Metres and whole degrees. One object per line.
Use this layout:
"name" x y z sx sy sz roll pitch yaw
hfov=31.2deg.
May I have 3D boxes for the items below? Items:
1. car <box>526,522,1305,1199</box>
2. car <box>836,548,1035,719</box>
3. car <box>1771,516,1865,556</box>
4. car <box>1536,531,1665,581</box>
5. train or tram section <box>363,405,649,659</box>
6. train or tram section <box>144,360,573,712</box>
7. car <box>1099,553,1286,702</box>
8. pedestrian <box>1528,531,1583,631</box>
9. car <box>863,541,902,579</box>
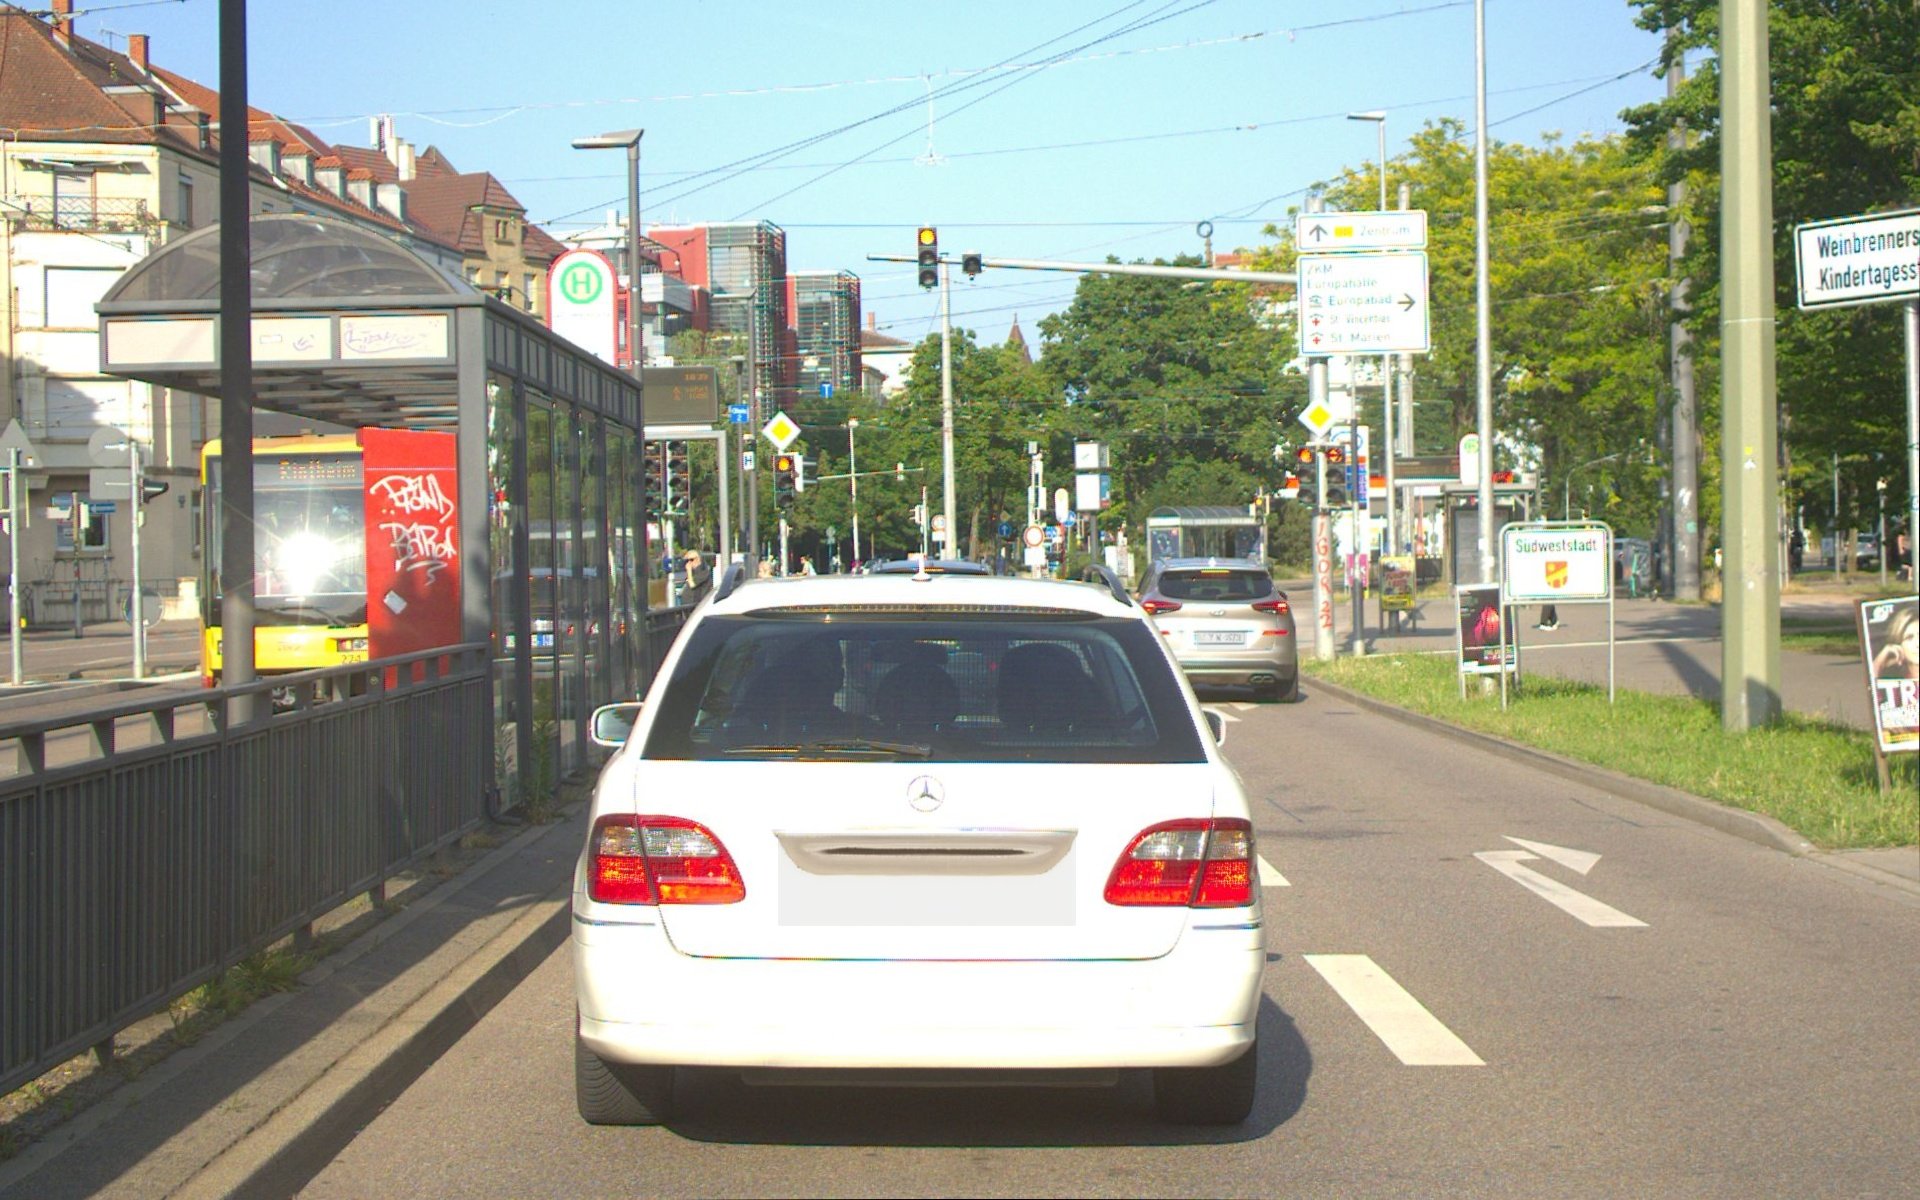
"car" -0.190 0.573 9.932 1.758 1.498 4.001 -2 2 -3
"car" -0.204 0.308 36.496 1.787 1.684 4.000 0 1 4
"car" 37.956 -2.835 152.093 3.989 1.645 1.999 -1 1 14
"car" 22.188 -1.525 119.064 3.992 1.645 1.997 -1 1 26
"train or tram section" -6.812 -1.073 53.702 2.849 3.467 13.201 0 1 -1
"train or tram section" -6.710 -0.788 40.684 2.849 3.467 13.201 0 1 0
"car" 2.675 0.276 39.504 2.033 1.600 4.000 0 1 4
"pedestrian" 9.891 -0.313 57.128 0.887 1.647 0.745 0 1 8
"car" -4.205 -2.165 186.795 1.993 2.007 4.000 -1 1 -1
